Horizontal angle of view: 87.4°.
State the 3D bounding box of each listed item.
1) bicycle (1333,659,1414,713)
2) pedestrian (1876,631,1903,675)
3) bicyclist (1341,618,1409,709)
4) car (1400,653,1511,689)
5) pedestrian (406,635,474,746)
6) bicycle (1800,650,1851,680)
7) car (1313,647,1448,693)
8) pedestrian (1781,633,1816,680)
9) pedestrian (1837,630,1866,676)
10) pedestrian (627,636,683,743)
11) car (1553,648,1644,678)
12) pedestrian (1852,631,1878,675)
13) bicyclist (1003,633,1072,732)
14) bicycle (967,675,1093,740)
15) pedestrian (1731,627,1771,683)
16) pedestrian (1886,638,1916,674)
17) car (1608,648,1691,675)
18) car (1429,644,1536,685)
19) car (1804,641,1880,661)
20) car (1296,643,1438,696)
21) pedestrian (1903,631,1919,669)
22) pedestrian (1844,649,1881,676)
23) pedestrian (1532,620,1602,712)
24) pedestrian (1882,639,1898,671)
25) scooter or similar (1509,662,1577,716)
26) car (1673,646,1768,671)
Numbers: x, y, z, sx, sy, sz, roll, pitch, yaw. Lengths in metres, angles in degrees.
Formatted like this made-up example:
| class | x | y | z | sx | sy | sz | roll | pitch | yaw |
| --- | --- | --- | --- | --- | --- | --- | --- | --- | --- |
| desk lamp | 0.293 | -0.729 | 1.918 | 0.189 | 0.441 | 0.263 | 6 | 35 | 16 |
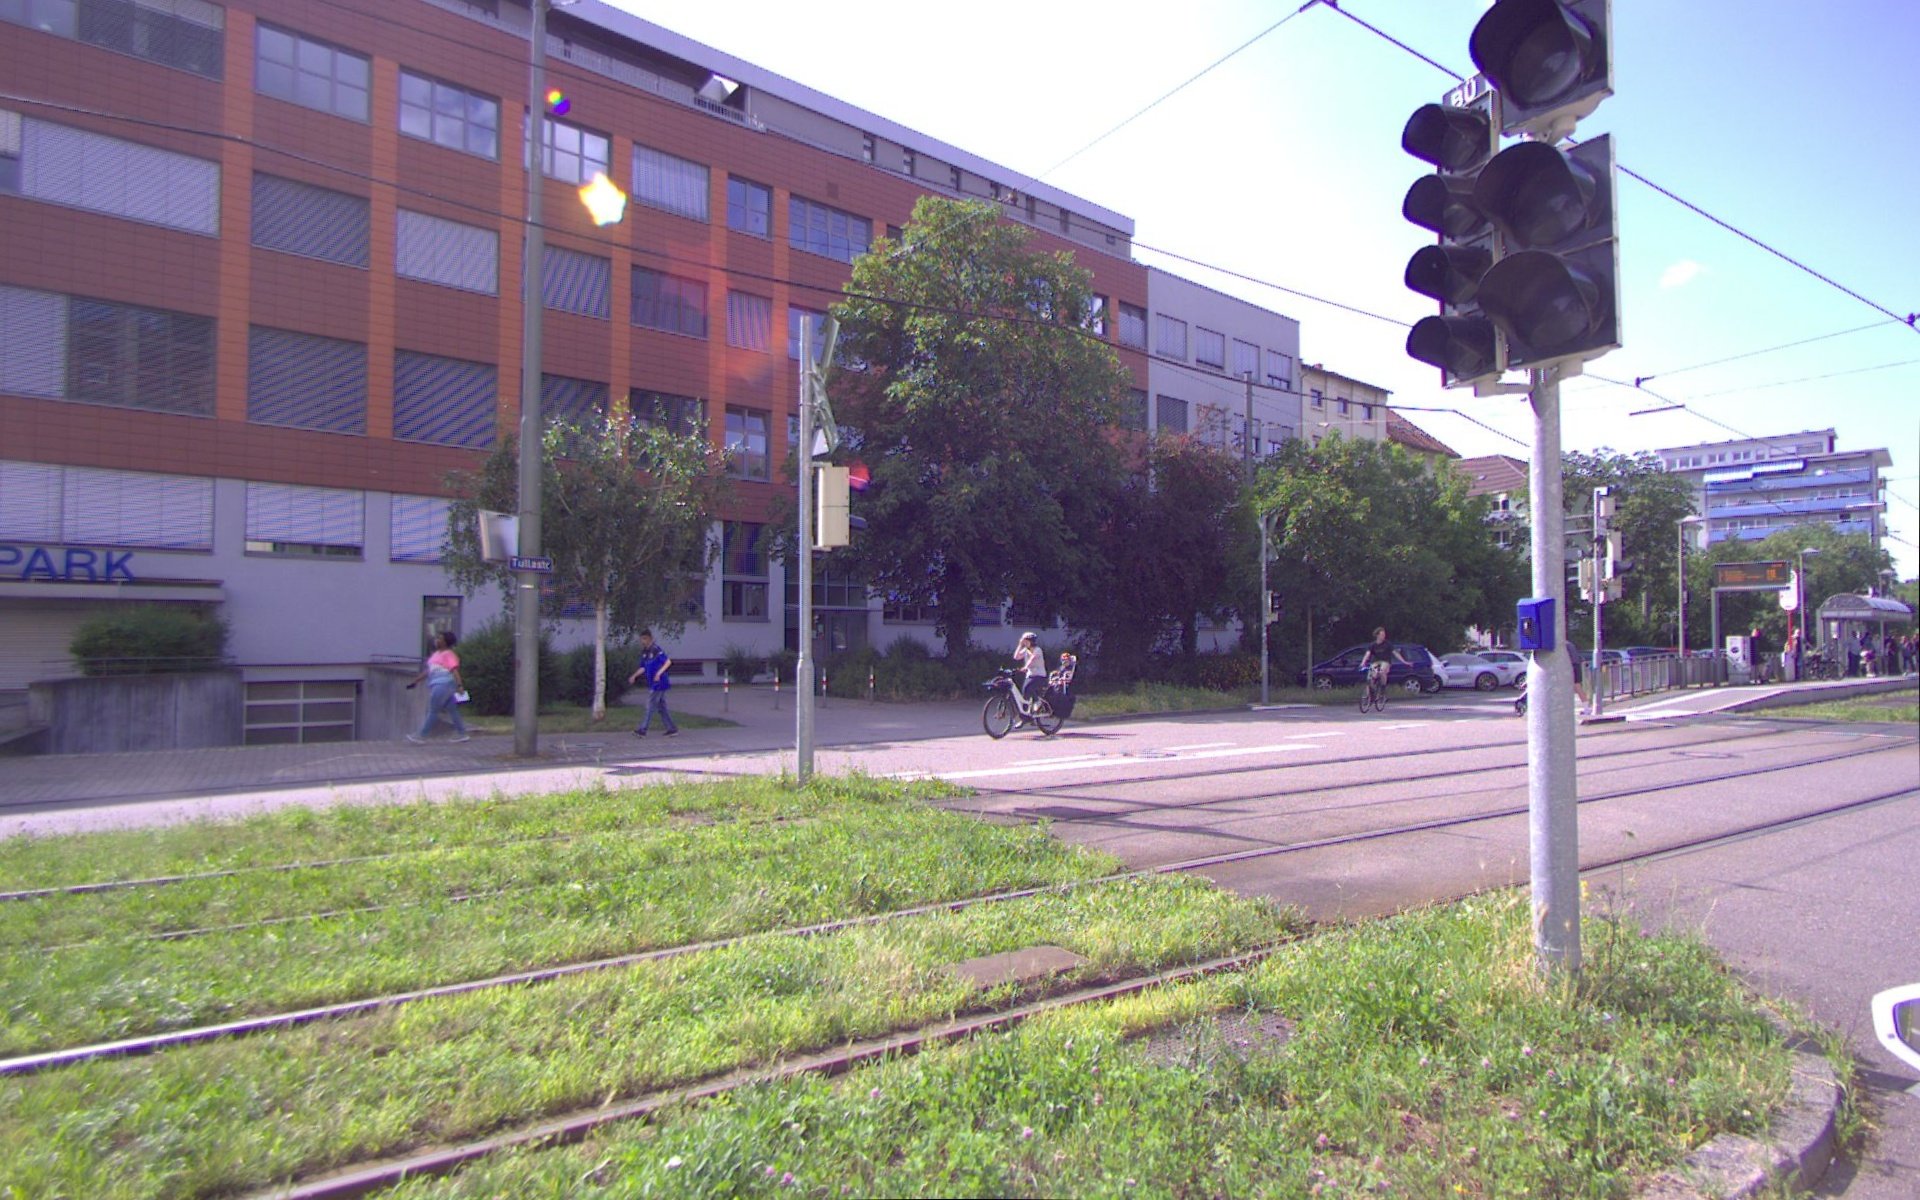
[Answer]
| class | x | y | z | sx | sy | sz | roll | pitch | yaw |
| --- | --- | --- | --- | --- | --- | --- | --- | --- | --- |
| bicycle | 9.693 | 1.998 | 23.504 | 1.143 | 1.193 | 1.777 | -4 | -5 | 45 |
| pedestrian | 38.239 | 2.191 | 41.317 | 0.631 | 1.789 | 0.602 | 1 | -2 | -29 |
| bicyclist | 9.717 | 1.477 | 23.512 | 0.938 | 2.040 | 1.566 | -2 | -3 | 44 |
| car | 17.842 | 2.542 | 36.301 | 3.320 | 1.252 | 1.546 | -1 | -3 | 13 |
| pedestrian | -7.833 | 1.334 | 15.122 | 0.879 | 1.594 | 0.742 | 0 | -2 | -30 |
| bicycle | 29.087 | 2.184 | 33.763 | 1.749 | 0.987 | 0.683 | 1 | -5 | -29 |
| car | 14.460 | 2.381 | 34.722 | 4.049 | 1.518 | 1.727 | -1 | -3 | 13 |
| pedestrian | 28.808 | 1.938 | 34.526 | 0.678 | 1.590 | 0.661 | 1 | -4 | -30 |
| pedestrian | 33.995 | 2.027 | 38.313 | 0.650 | 1.714 | 0.650 | 2 | -4 | -38 |
| pedestrian | -4.912 | 1.421 | 16.184 | 0.738 | 1.678 | 0.554 | 2 | -3 | -30 |
| car | 28.969 | 2.846 | 45.628 | 3.181 | 1.326 | 1.457 | 0 | -2 | 4 |
| pedestrian | 37.051 | 2.174 | 41.130 | 0.551 | 1.759 | 0.590 | 1 | -3 | -33 |
| bicyclist | 1.300 | 1.377 | 16.959 | 0.855 | 1.602 | 0.780 | 2 | -4 | -35 |
| bicycle | 1.198 | 1.774 | 16.806 | 2.157 | 0.983 | 0.676 | 2 | -4 | -35 |
| pedestrian | 24.762 | 1.720 | 31.453 | 0.654 | 1.749 | 0.715 | 0 | -2 | 4 |
| pedestrian | 38.719 | 2.296 | 41.345 | 0.552 | 1.444 | 0.656 | 0 | -3 | -1 |
| car | 35.378 | 3.156 | 51.585 | 3.181 | 1.326 | 1.457 | 0 | -2 | 6 |
| car | 19.884 | 2.444 | 38.345 | 3.320 | 1.524 | 1.546 | -1 | -3 | 14 |
| car | 67.006 | 3.854 | 76.384 | 3.920 | 1.466 | 1.729 | -1 | -3 | 18 |
| car | 13.182 | 2.224 | 32.743 | 4.049 | 1.662 | 1.727 | -1 | -3 | 13 |
| pedestrian | 43.228 | 2.268 | 45.637 | 0.482 | 1.734 | 0.461 | -3 | -4 | 42 |
| pedestrian | 35.281 | 2.451 | 39.272 | 0.789 | 1.001 | 0.918 | 4 | -6 | -36 |
| pedestrian | 12.389 | 1.344 | 20.498 | 0.995 | 1.798 | 0.864 | 2 | -5 | -40 |
| pedestrian | 42.863 | 2.554 | 46.313 | 0.482 | 1.471 | 0.461 | -3 | -4 | 42 |
| scooter or similar | 11.960 | 1.822 | 20.625 | 0.790 | 1.078 | 0.947 | 2 | -5 | -38 |
| car | 43.474 | 3.346 | 57.501 | 3.919 | 1.385 | 1.718 | -1 | -3 | 11 |
